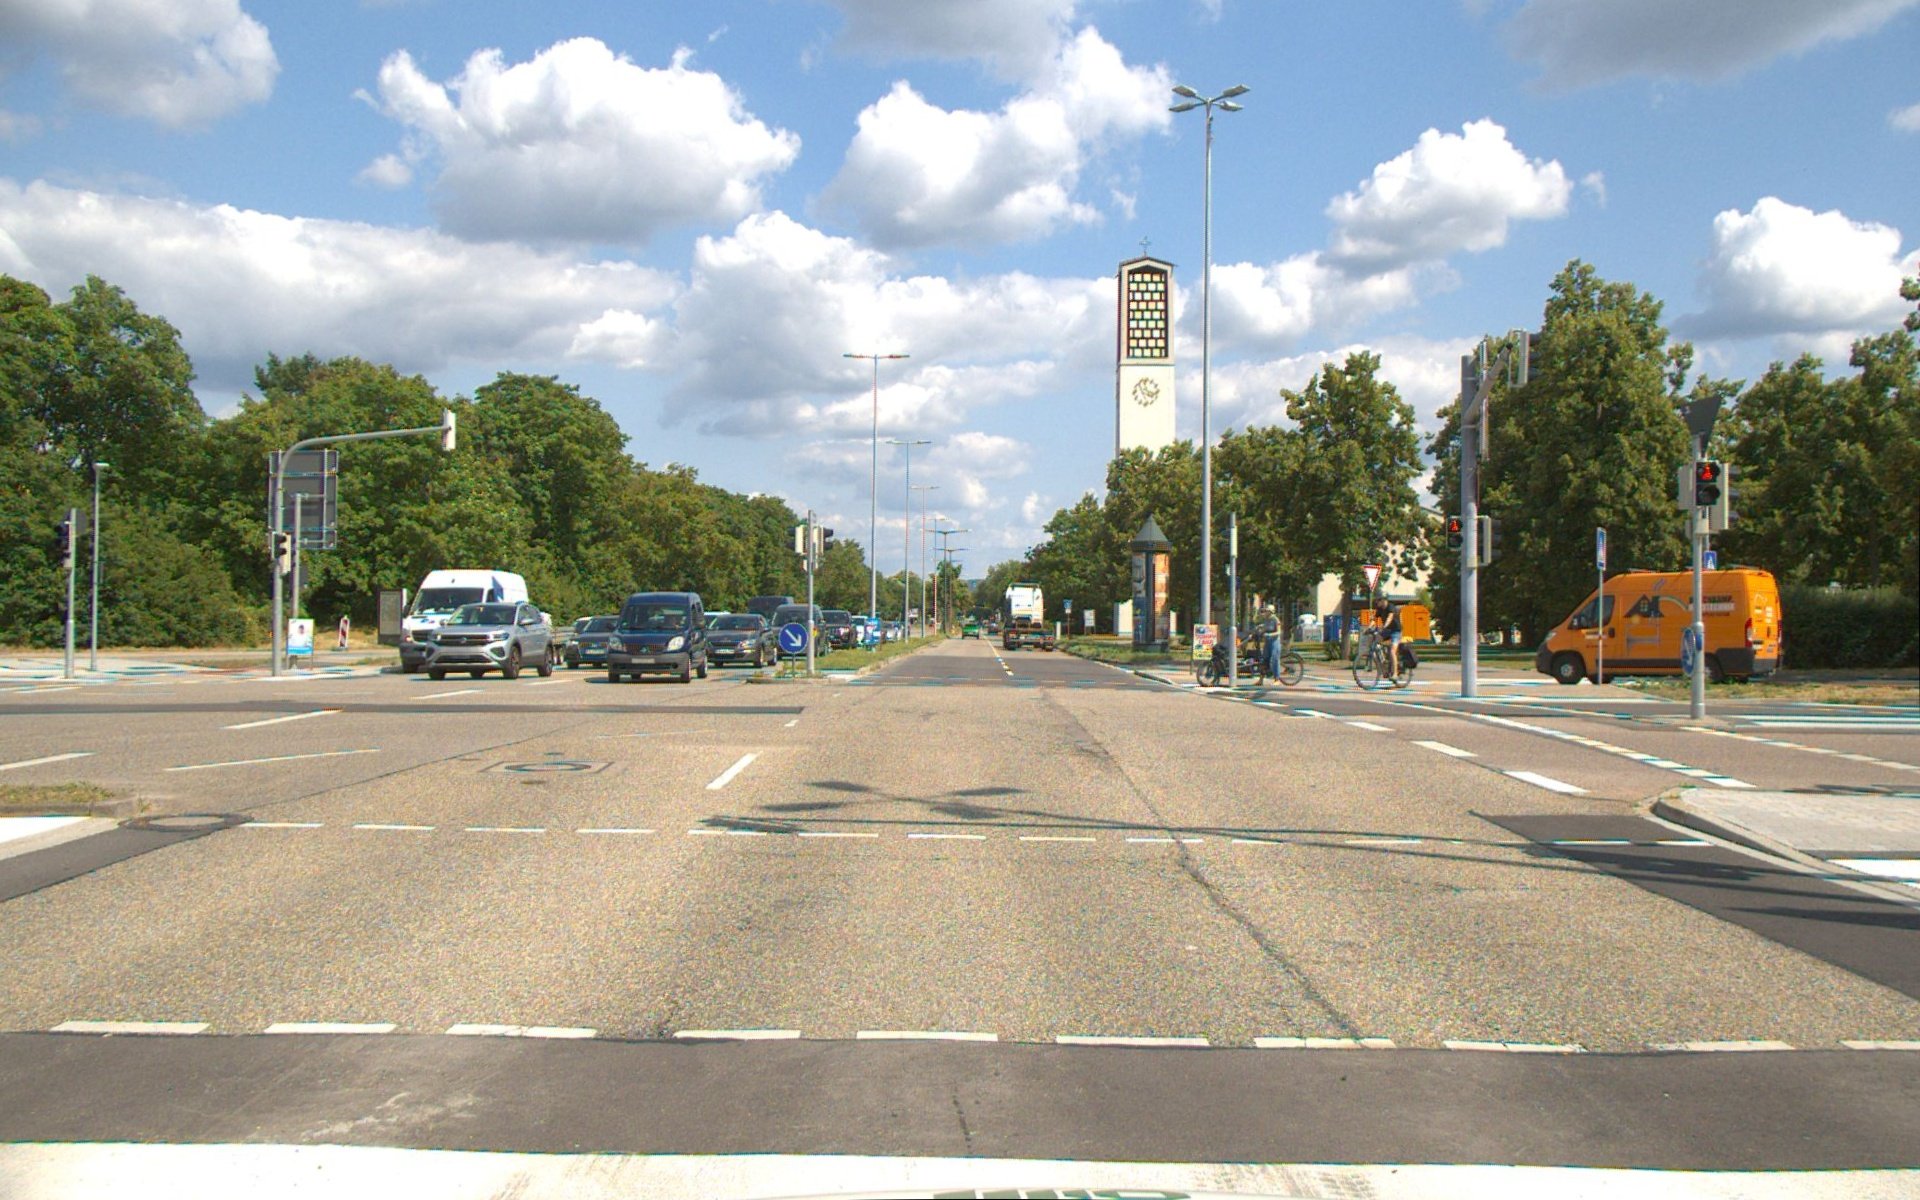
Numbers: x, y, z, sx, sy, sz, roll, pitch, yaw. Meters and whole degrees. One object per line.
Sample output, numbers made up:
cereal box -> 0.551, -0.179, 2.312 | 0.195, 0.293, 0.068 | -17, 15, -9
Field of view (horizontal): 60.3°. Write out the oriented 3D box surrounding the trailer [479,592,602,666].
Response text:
trailer -> -12.584, 0.876, 49.981 | 2.080, 2.049, 5.163 | 2, -1, 3

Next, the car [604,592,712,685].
car -> -6.049, 0.758, 33.524 | 1.701, 1.689, 4.226 | 2, -1, -5

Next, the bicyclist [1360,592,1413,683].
bicyclist -> 8.679, 0.755, 33.663 | 0.778, 1.836, 0.679 | 1, -1, -30

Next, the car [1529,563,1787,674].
car -> 15.305, 0.380, 36.414 | 4.774, 2.265, 2.198 | 1, -1, 43

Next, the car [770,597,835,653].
car -> -5.141, 0.787, 54.325 | 1.699, 1.689, 4.230 | 2, 0, -1

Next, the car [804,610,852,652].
car -> -5.608, 1.315, 70.425 | 1.699, 1.689, 4.230 | 2, -1, -1

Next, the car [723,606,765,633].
car -> -10.255, 0.935, 78.728 | 1.516, 1.238, 3.489 | 2, -1, -1

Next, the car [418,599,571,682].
car -> -9.601, 0.830, 34.478 | 1.698, 1.570, 4.310 | 2, -1, 3

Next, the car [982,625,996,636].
car -> 4.475, 4.670, 256.309 | 1.953, 1.579, 3.999 | 2, -1, -1

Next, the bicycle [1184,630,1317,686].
bicycle -> 6.105, 1.201, 34.698 | 2.796, 1.131, 0.791 | 1, 0, -25

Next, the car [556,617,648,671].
car -> -9.563, 1.152, 44.421 | 1.728, 1.375, 3.518 | 1, -1, -1

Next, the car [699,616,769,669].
car -> -6.071, 1.129, 44.670 | 1.537, 1.339, 3.430 | 2, -1, -3

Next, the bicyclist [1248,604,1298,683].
bicyclist -> 6.607, 0.913, 34.927 | 0.689, 1.644, 0.791 | 1, -1, -24

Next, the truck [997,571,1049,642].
truck -> 3.849, 0.492, 99.353 | 2.897, 4.040, 8.640 | 1, -1, 3

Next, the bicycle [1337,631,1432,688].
bicycle -> 8.646, 1.197, 33.643 | 1.976, 1.113, 0.679 | 1, -1, -30

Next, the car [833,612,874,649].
car -> -5.268, 1.514, 82.114 | 1.699, 1.689, 4.230 | 2, -1, 0

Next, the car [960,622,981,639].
car -> 1.040, 3.085, 165.632 | 1.953, 1.579, 3.999 | 2, -1, -1

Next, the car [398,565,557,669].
car -> -12.824, 0.476, 44.468 | 2.128, 2.514, 5.969 | 2, -1, 3

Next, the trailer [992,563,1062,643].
trailer -> 3.814, 0.306, 91.374 | 3.544, 4.083, 11.322 | 1, -1, 3

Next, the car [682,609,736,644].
car -> -9.559, 1.017, 63.090 | 1.516, 1.238, 3.489 | 2, -1, -1
